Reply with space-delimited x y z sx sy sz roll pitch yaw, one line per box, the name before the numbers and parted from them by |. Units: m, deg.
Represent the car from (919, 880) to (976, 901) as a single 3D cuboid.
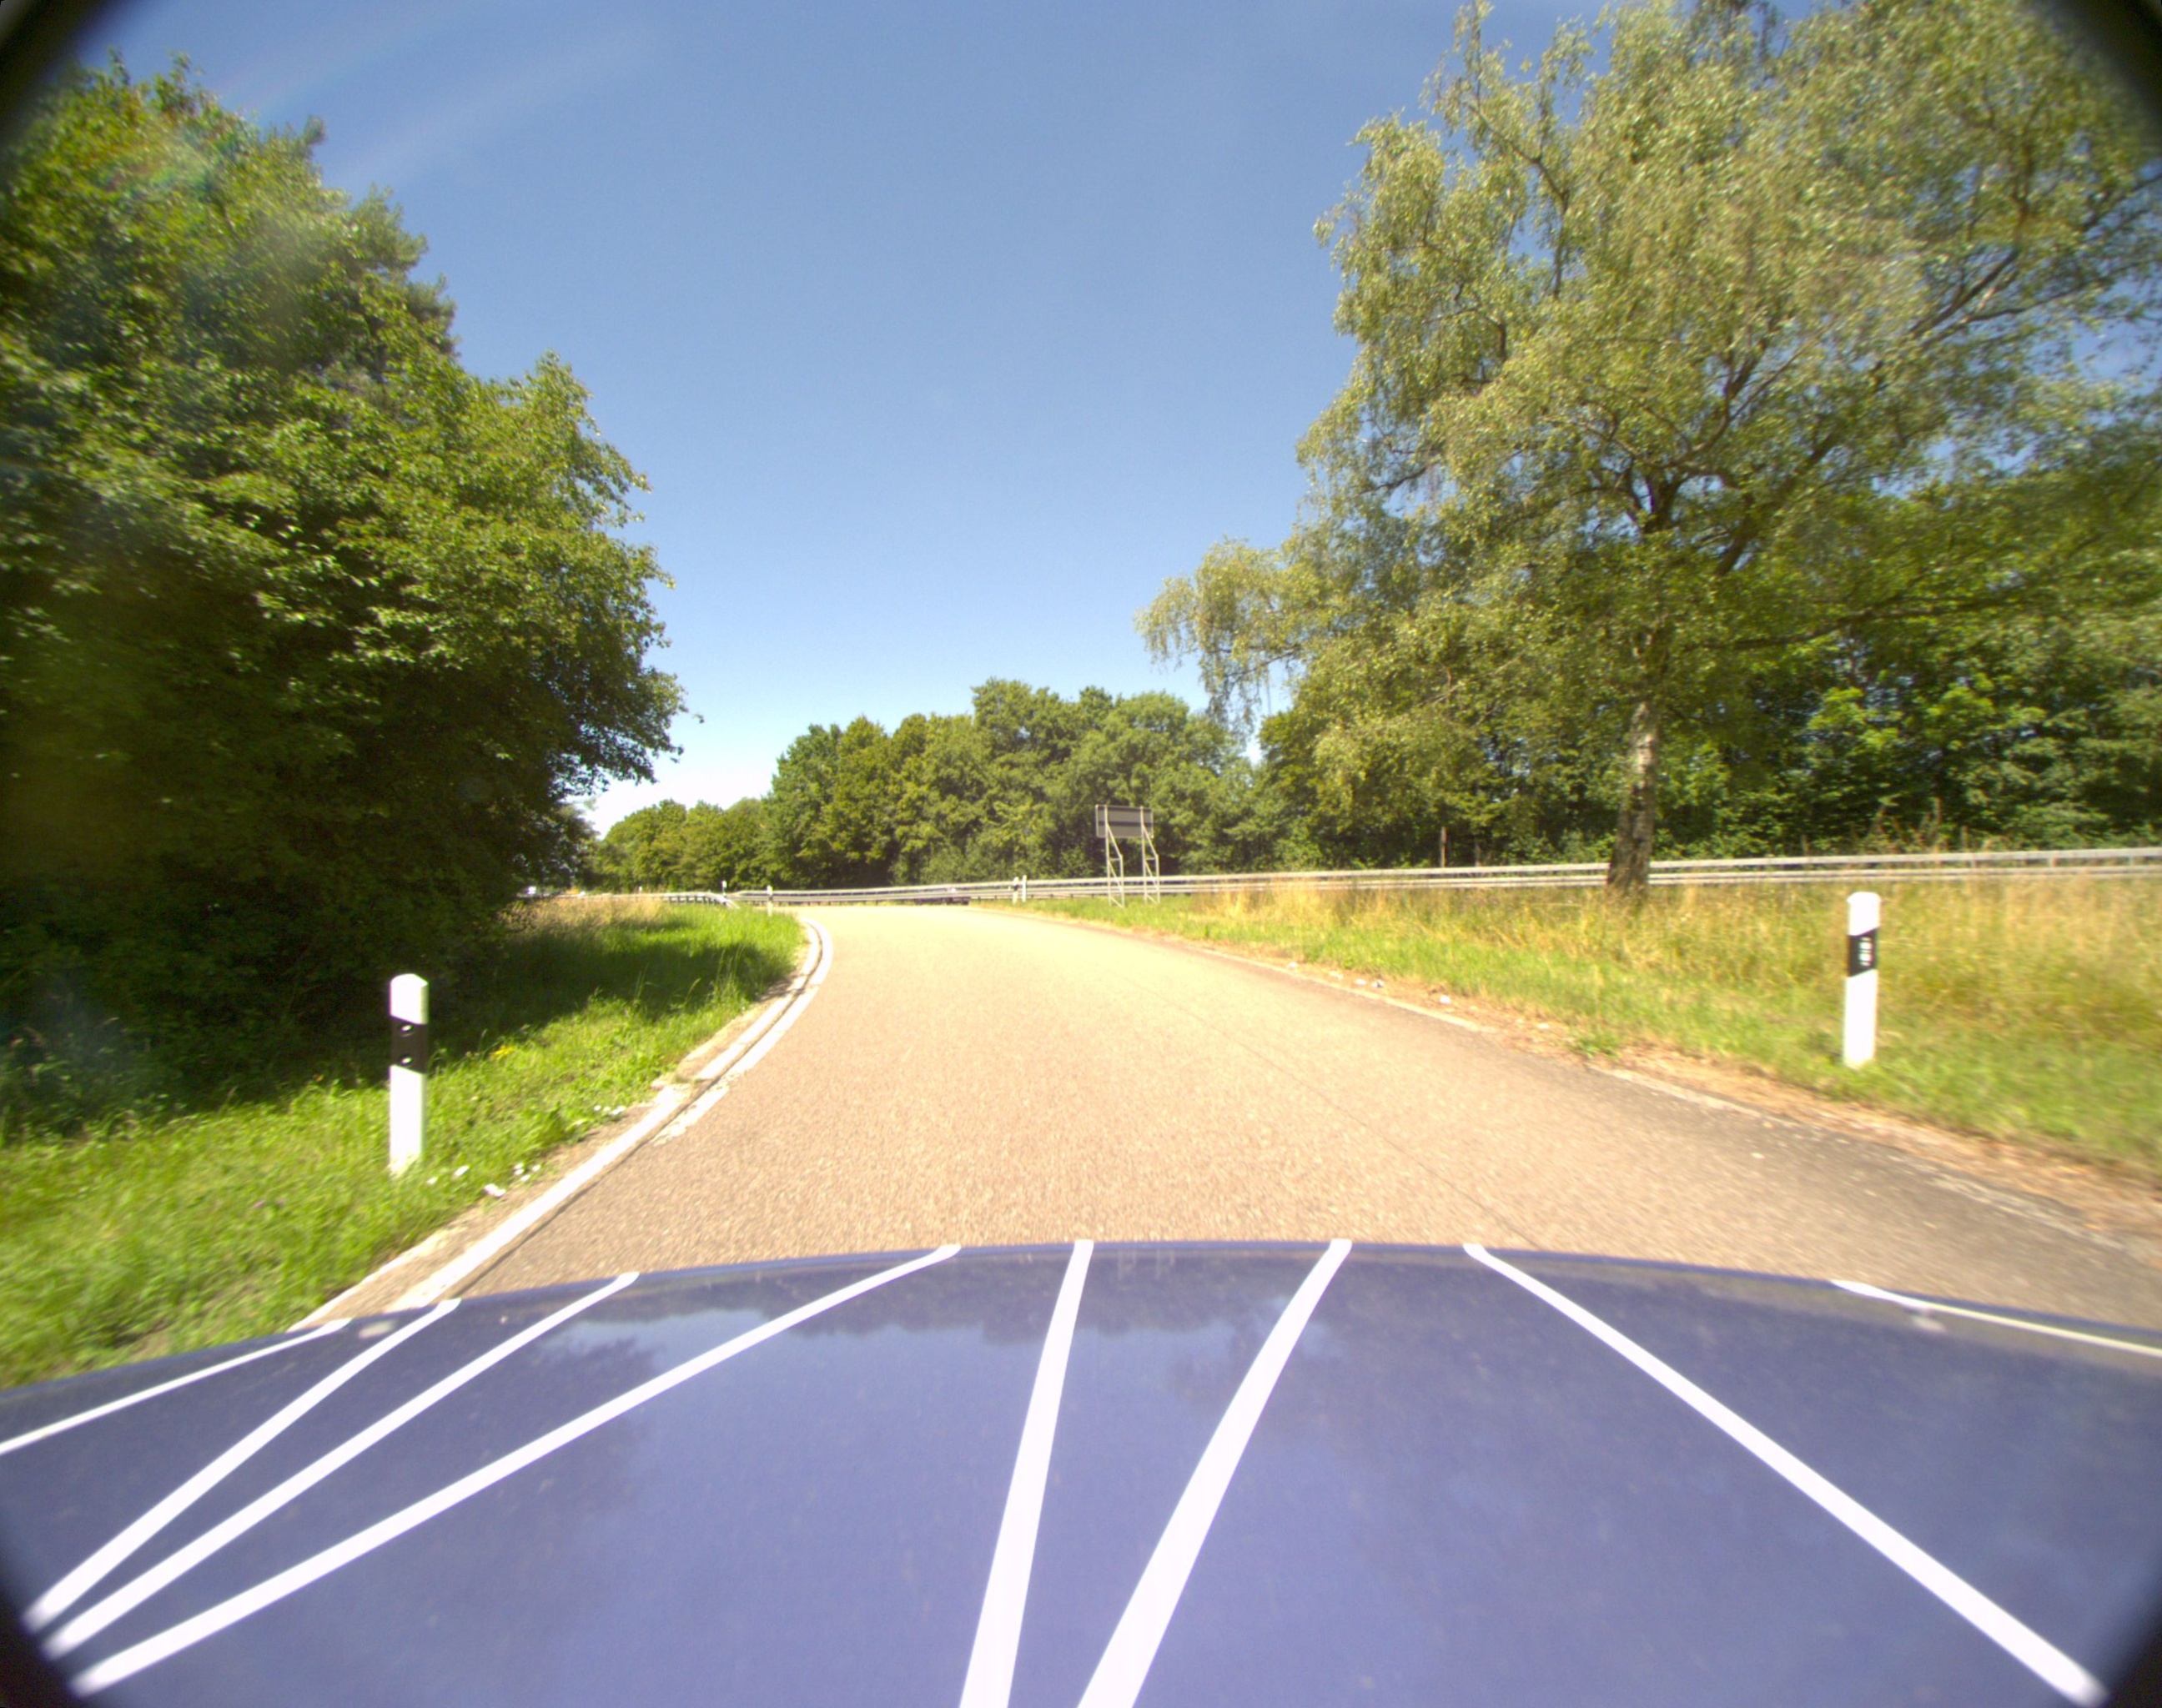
car | -8.798 2.417 50.007 3.838 1.372 1.448 -3 -4 38
